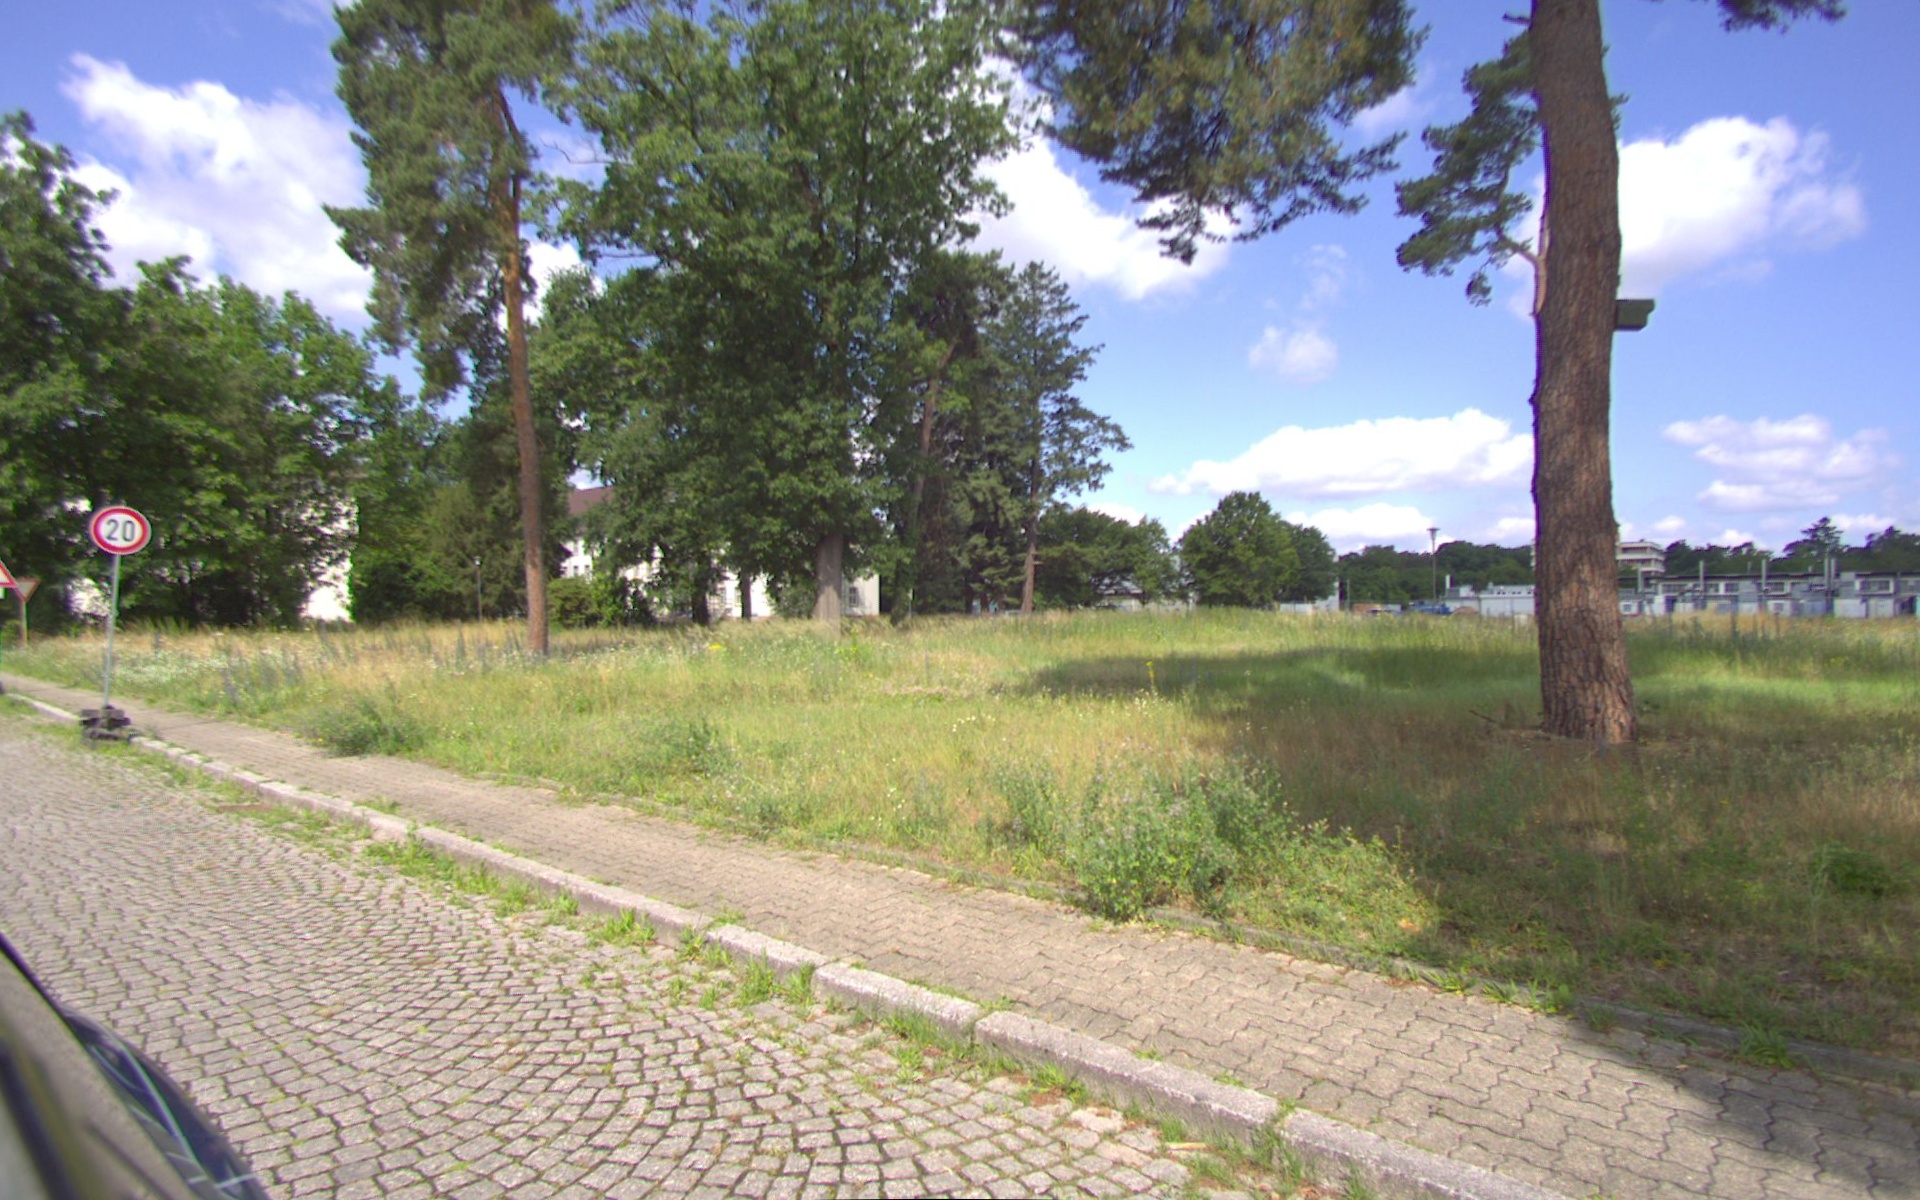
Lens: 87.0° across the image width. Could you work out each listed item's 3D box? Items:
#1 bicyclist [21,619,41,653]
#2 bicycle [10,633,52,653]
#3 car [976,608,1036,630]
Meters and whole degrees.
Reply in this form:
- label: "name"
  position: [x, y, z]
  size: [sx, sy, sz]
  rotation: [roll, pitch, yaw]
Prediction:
- label: "bicyclist"
  position: [-49.625, 1.933, 54.084]
  size: [0.561, 1.783, 0.637]
  rotation: [-1, -1, -17]
- label: "bicycle"
  position: [-49.614, 2.288, 54.076]
  size: [1.531, 1.004, 0.637]
  rotation: [-1, -1, -17]
- label: "car"
  position: [3.041, 1.228, 65.981]
  size: [1.899, 1.423, 4.018]
  rotation: [-1, -1, 39]
